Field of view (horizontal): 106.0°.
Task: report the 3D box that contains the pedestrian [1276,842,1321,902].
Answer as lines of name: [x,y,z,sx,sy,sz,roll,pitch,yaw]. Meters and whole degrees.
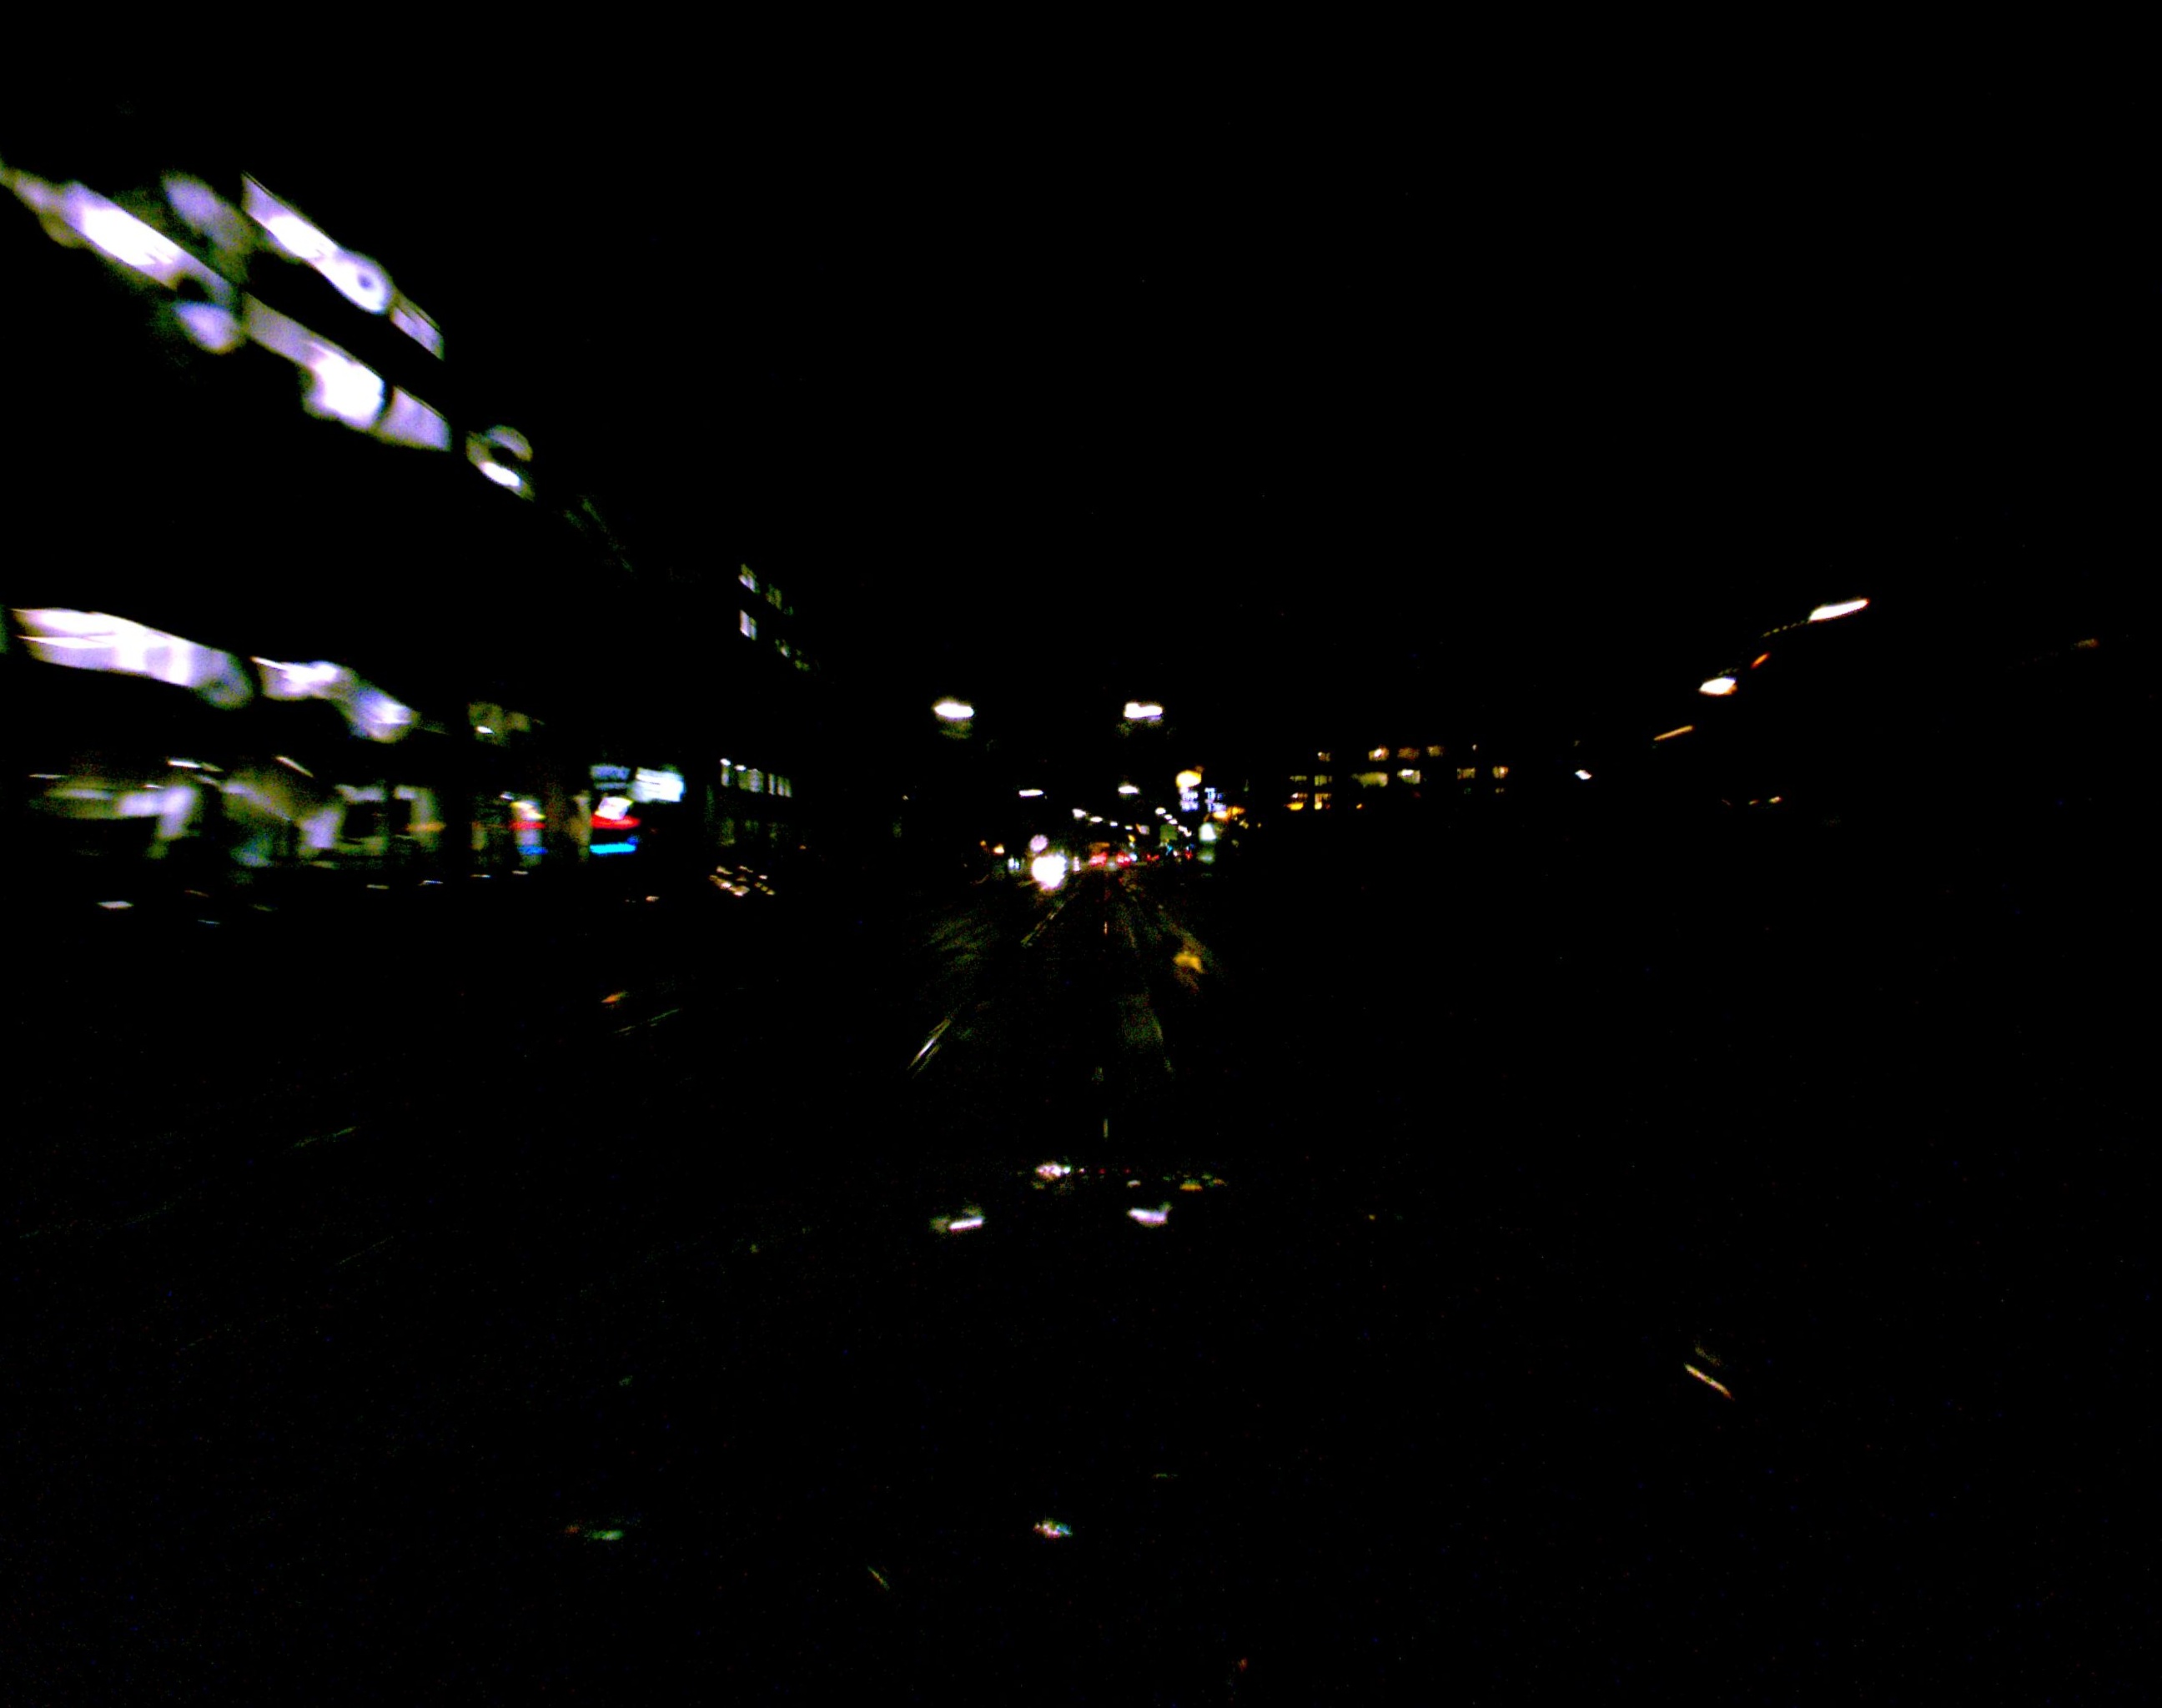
pedestrian: [6.329,0.505,23.756,0.937,1.664,0.993,-3,-1,-3]

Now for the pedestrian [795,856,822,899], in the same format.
pedestrian: [-11.009,0.940,32.958,0.783,1.686,0.883,-1,-1,1]

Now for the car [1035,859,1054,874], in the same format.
car: [-4.087,1.395,91.515,1.988,1.724,4.073,0,-1,-2]

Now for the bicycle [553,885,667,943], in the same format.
bicycle: [-9.121,1.151,15.802,1.847,1.077,0.628,-1,-1,1]

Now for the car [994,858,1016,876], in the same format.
car: [-8.662,1.444,93.470,1.985,2.014,4.003,-1,-1,3]

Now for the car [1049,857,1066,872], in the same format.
car: [-3.288,1.471,113.659,2.313,1.932,4.960,0,-1,-2]

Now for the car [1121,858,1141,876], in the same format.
car: [5.259,1.360,85.572,2.007,1.815,4.004,-1,-1,4]

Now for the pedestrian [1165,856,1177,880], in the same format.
pedestrian: [6.718,1.067,60.785,0.771,1.776,0.697,-1,-1,19]

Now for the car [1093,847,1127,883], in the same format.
car: [1.924,0.756,55.751,2.236,2.361,4.394,-1,-1,1]

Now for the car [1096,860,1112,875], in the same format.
car: [2.813,1.623,100.685,1.986,1.816,4.000,-1,-1,1]

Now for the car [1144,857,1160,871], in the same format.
car: [10.374,1.446,119.437,1.986,2.014,4.001,-1,-1,1]
